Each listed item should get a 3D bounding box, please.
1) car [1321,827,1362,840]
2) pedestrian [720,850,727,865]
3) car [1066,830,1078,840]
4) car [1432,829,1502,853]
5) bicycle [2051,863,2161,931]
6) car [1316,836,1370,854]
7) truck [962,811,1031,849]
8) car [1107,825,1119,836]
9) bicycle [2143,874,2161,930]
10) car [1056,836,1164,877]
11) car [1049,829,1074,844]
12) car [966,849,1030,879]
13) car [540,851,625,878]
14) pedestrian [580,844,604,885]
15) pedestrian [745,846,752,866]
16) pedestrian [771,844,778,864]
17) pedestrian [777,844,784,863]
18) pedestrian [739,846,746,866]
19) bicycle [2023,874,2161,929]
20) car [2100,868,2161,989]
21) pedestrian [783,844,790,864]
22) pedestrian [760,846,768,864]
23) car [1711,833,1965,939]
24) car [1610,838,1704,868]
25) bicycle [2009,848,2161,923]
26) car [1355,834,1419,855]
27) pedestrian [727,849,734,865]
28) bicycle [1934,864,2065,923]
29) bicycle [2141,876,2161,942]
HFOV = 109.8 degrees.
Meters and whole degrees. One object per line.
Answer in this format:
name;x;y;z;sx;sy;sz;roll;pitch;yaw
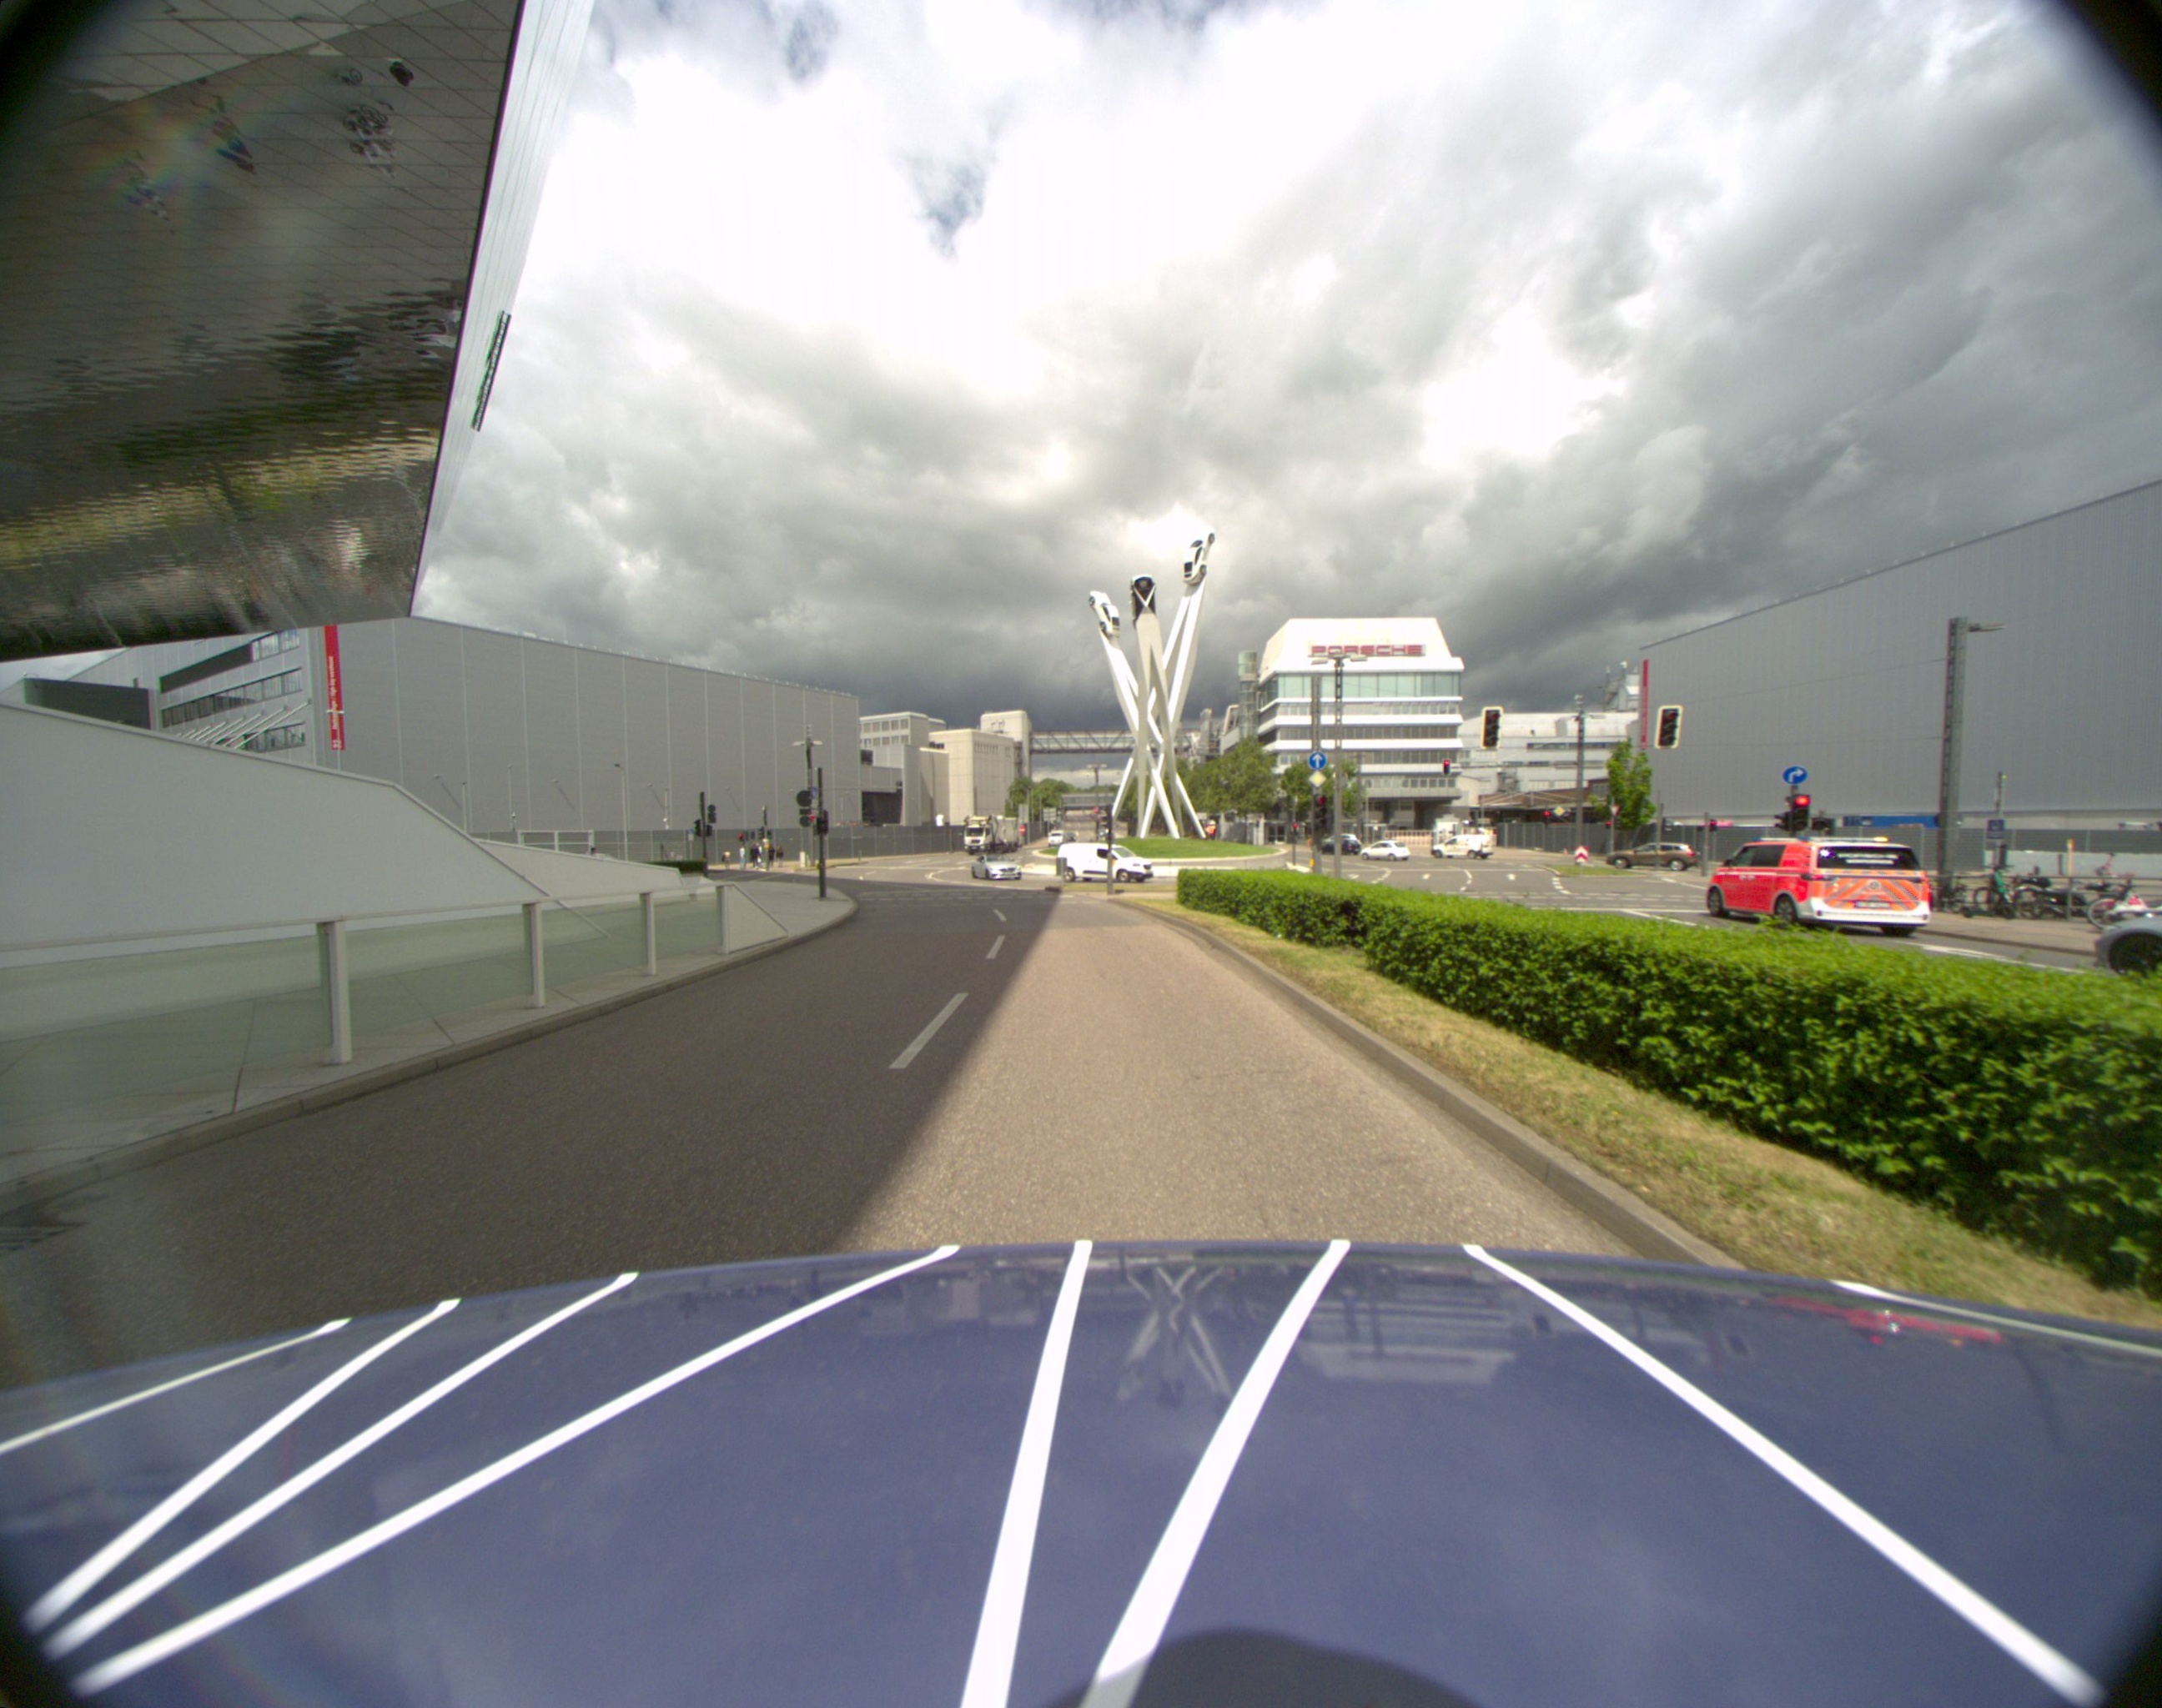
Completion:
car;28.712;-2.285;83.770;3.946;1.370;1.632;0;2;35
pedestrian;-26.404;0.242;56.137;0.383;1.137;0.389;-2;2;-36
car;-1.511;-3.097;124.634;1.831;1.555;3.999;0;1;0
car;29.684;-1.020;58.558;2.003;1.819;4.390;-1;2;-32
bicycle;20.382;0.816;14.693;1.887;1.261;0.850;0;2;12
car;23.279;-0.840;67.705;1.941;1.503;4.233;-2;2;-35
truck;-8.587;-2.447;79.089;2.839;3.669;10.765;0;1;18
car;4.808;-3.522;114.922;1.586;1.631;3.802;0;1;1
bicycle;25.472;1.096;16.884;2.109;1.248;0.741;0;2;19
car;1.354;0.087;36.269;4.853;1.812;2.004;1;2;36
car;-2.552;-2.342;100.961;2.161;1.900;5.308;0;1;11
car;-4.656;0.511;41.975;2.052;1.477;4.773;-1;2;-26
car;-29.795;0.622;45.437;3.996;1.521;1.671;0;2;3
pedestrian;-21.080;0.432;32.750;0.560;1.734;0.600;0;2;2
pedestrian;-24.803;0.167;56.650;0.383;1.449;0.389;-2;2;-36
pedestrian;-23.367;-0.025;57.925;0.428;1.545;0.389;-2;2;-36
pedestrian;-23.019;-0.018;58.262;0.361;1.472;0.402;-2;2;-37
pedestrian;-25.159;0.139;56.446;0.383;1.464;0.389;-2;2;-36
bicycle;26.273;1.181;19.070;3.074;1.259;1.165;0;2;26
car;13.523;0.948;7.232;1.800;1.414;4.493;1;1;6
pedestrian;-22.685;0.005;58.551;0.329;1.472;0.359;-2;2;-39
pedestrian;-23.844;0.069;57.156;0.383;1.398;0.389;-2;2;-36
car;15.922;0.532;16.407;1.996;1.947;4.633;0;2;18
car;33.790;-0.096;44.644;4.184;1.686;1.958;1;2;44
bicycle;28.698;0.860;21.279;3.265;2.002;1.076;0;2;23
car;23.662;-0.781;58.919;2.003;1.570;4.233;-2;2;-34
pedestrian;-26.005;0.226;56.399;0.383;1.137;0.389;-2;2;-36
bicycle;20.671;0.883;17.138;1.888;1.261;0.668;-1;2;9
bicycle;20.218;0.981;13.314;2.041;1.161;0.621;0;2;10
